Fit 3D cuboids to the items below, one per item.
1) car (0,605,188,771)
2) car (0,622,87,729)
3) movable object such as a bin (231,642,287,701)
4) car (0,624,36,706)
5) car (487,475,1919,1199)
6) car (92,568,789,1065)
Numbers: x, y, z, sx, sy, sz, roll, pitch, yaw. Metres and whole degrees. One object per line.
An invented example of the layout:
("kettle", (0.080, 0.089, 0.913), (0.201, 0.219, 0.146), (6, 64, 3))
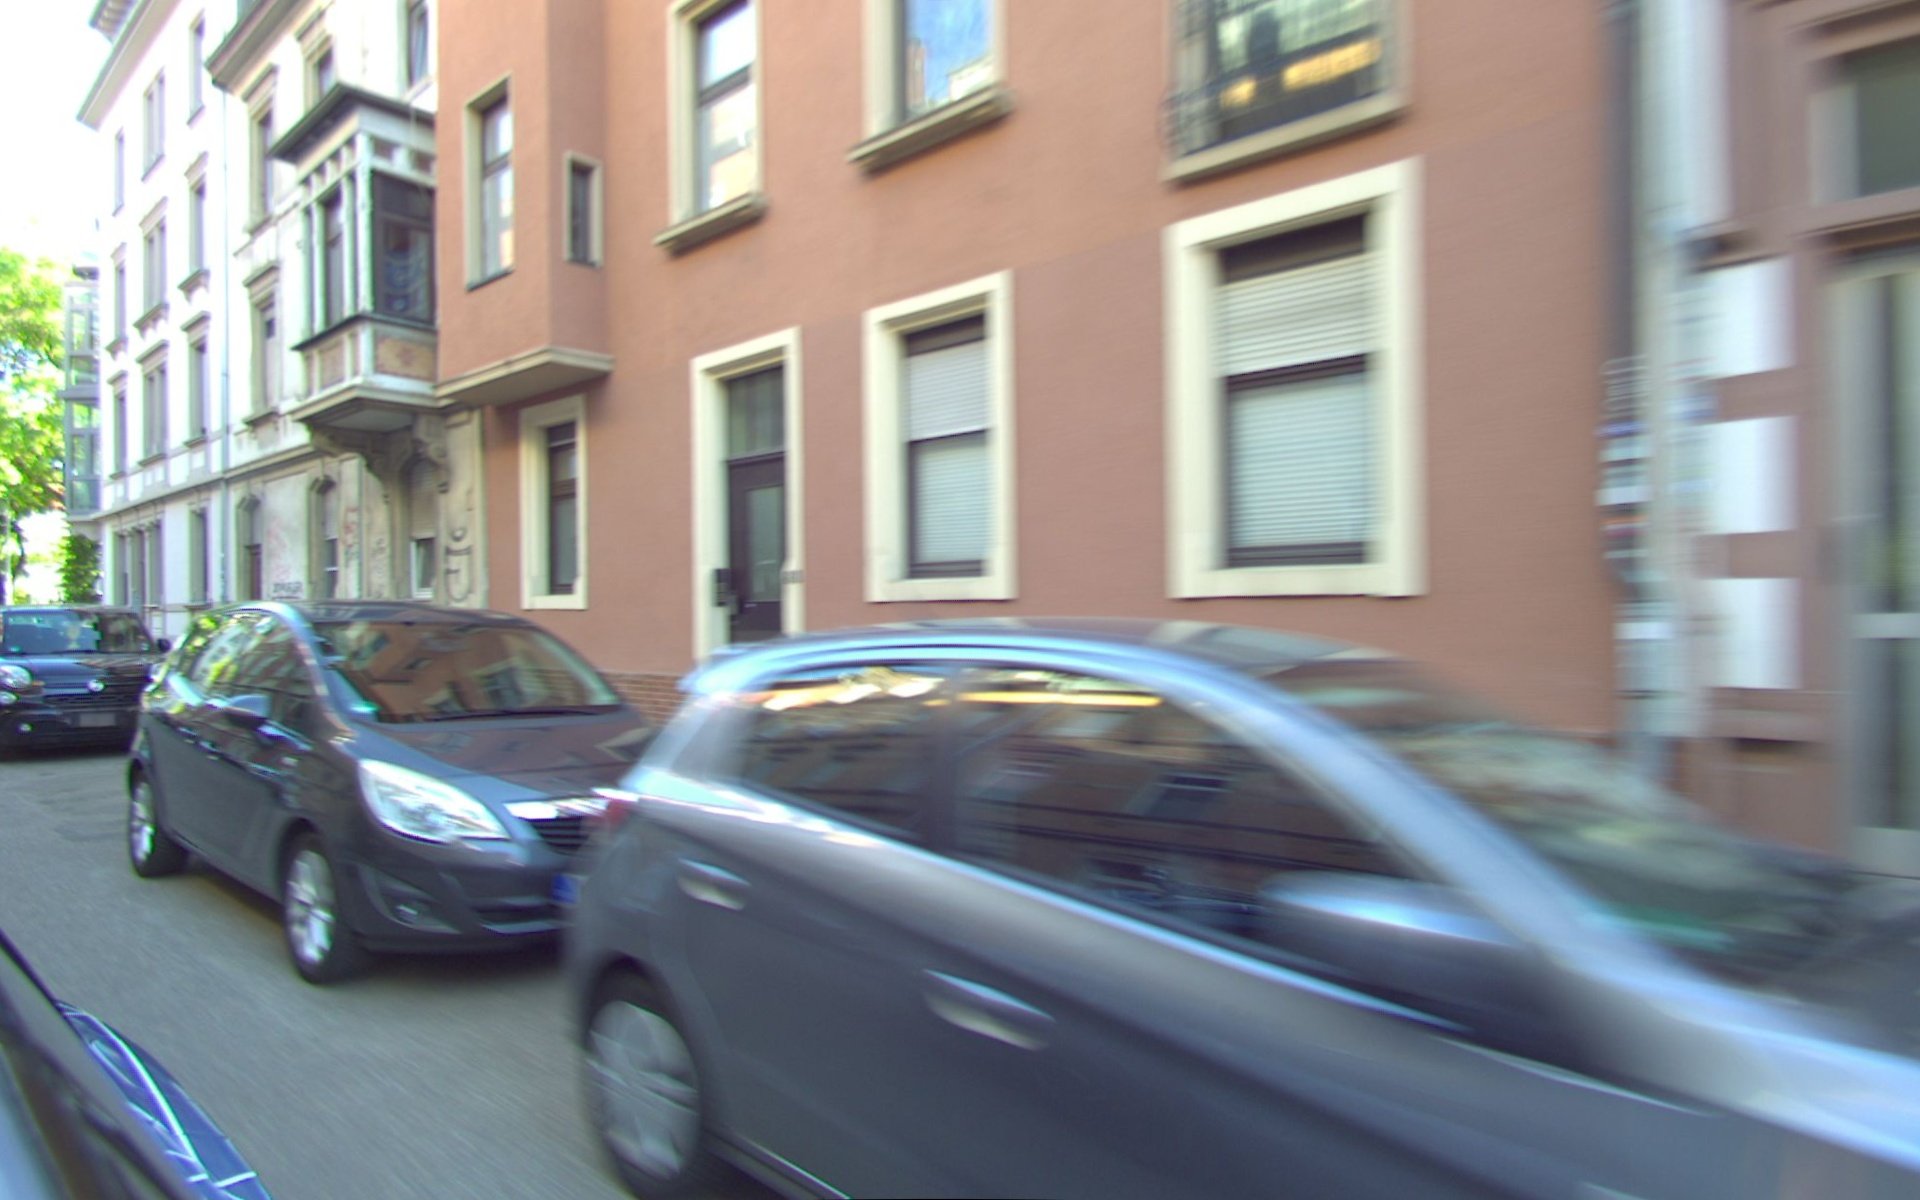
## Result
("car", (-10.594, 0.907, 11.794), (4.187, 1.630, 1.743), (-1, -1, 41))
("car", (-14.579, 1.073, 15.146), (3.835, 1.467, 1.626), (-1, -4, 40))
("movable object such as a bin", (-11.678, 1.181, 16.854), (0.733, 0.927, 0.606), (-1, -1, 40))
("car", (-18.438, 1.167, 18.505), (3.738, 1.414, 1.763), (-1, -1, 39))
("car", (0.700, 0.683, 2.256), (3.916, 1.486, 1.676), (-1, -4, 41))
("car", (-2.919, 0.743, 5.283), (4.065, 1.618, 1.763), (-1, -1, 39))
